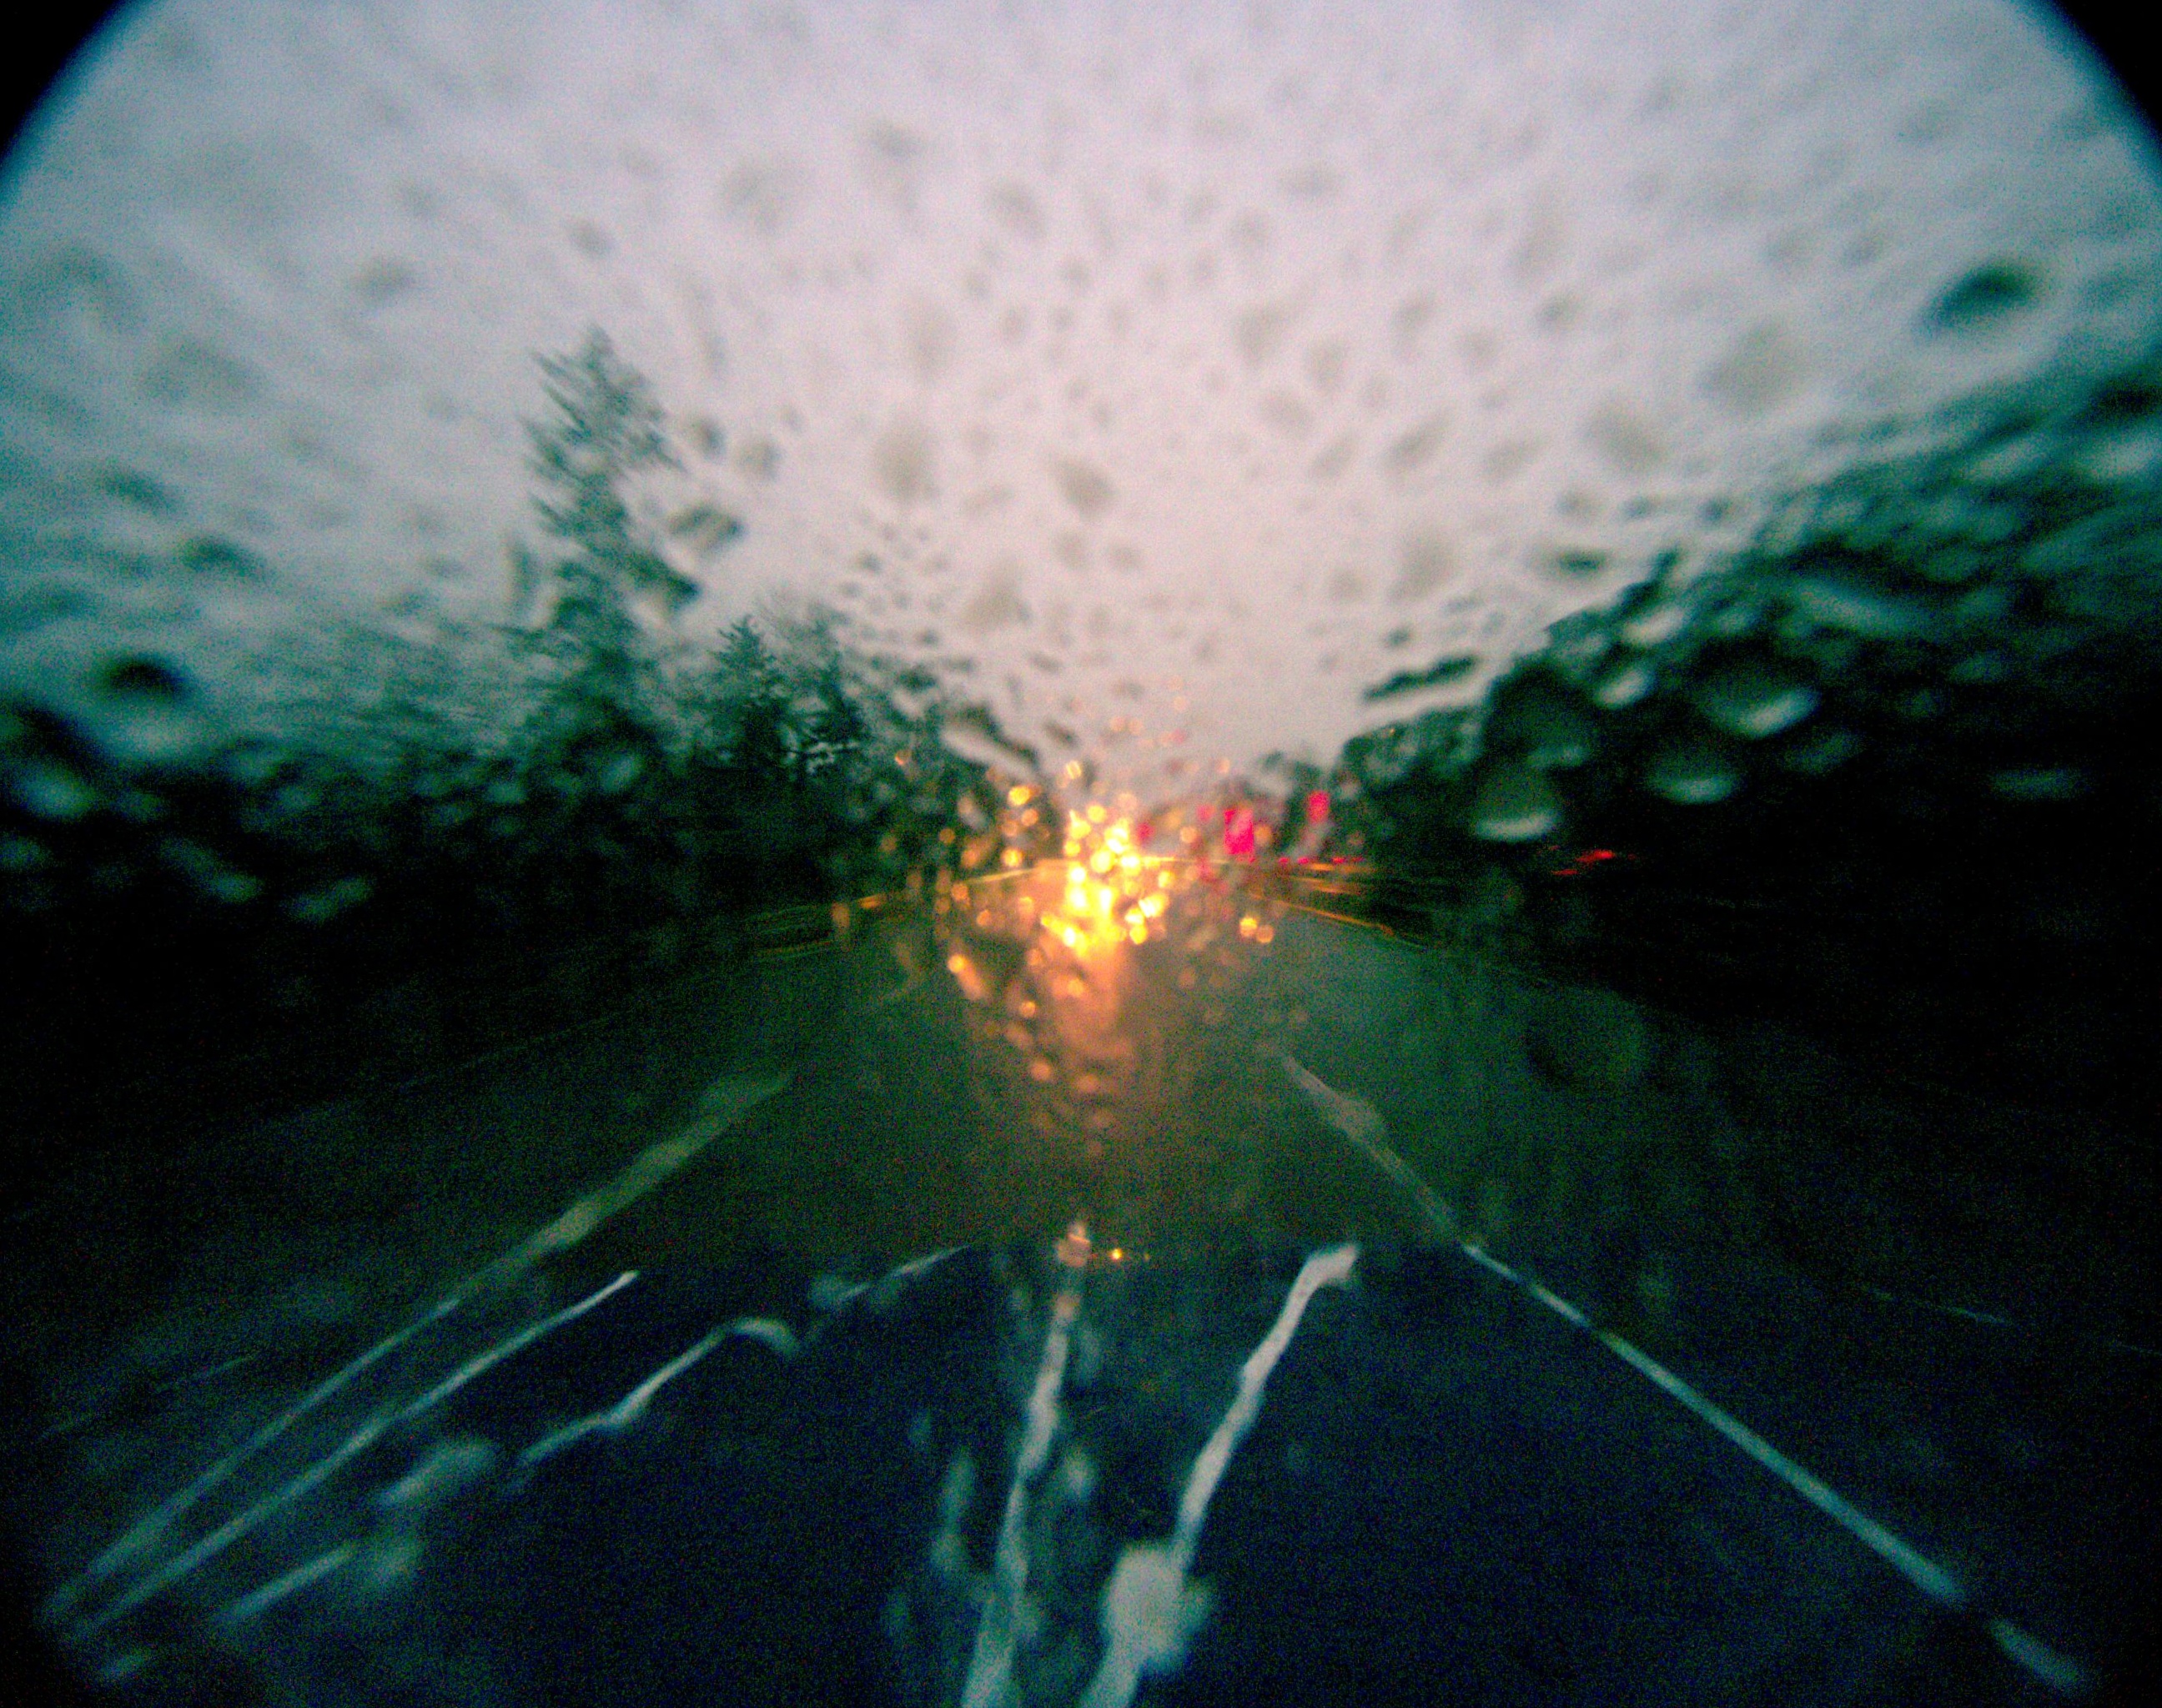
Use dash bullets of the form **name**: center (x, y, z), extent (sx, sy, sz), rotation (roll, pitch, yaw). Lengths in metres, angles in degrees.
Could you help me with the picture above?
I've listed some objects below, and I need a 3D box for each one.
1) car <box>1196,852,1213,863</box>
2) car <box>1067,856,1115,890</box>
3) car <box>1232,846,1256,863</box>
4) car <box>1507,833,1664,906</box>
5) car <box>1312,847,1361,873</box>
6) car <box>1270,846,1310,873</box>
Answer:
- **car**: center (17.183, 0.498, 105.998), extent (1.900, 1.352, 4.208), rotation (-4, 0, 3)
- **car**: center (0.571, 0.881, 37.730), extent (1.951, 1.511, 4.789), rotation (-2, 0, 6)
- **car**: center (18.052, 0.024, 84.580), extent (1.998, 1.743, 4.901), rotation (-4, 0, 6)
- **car**: center (14.257, 0.400, 21.784), extent (1.648, 1.775, 4.207), rotation (-5, 0, 1)
- **car**: center (18.160, 0.406, 54.143), extent (1.998, 1.669, 4.473), rotation (-3, 0, 1)
- **car**: center (14.975, 0.361, 54.548), extent (1.756, 1.743, 3.941), rotation (-4, 0, 2)
